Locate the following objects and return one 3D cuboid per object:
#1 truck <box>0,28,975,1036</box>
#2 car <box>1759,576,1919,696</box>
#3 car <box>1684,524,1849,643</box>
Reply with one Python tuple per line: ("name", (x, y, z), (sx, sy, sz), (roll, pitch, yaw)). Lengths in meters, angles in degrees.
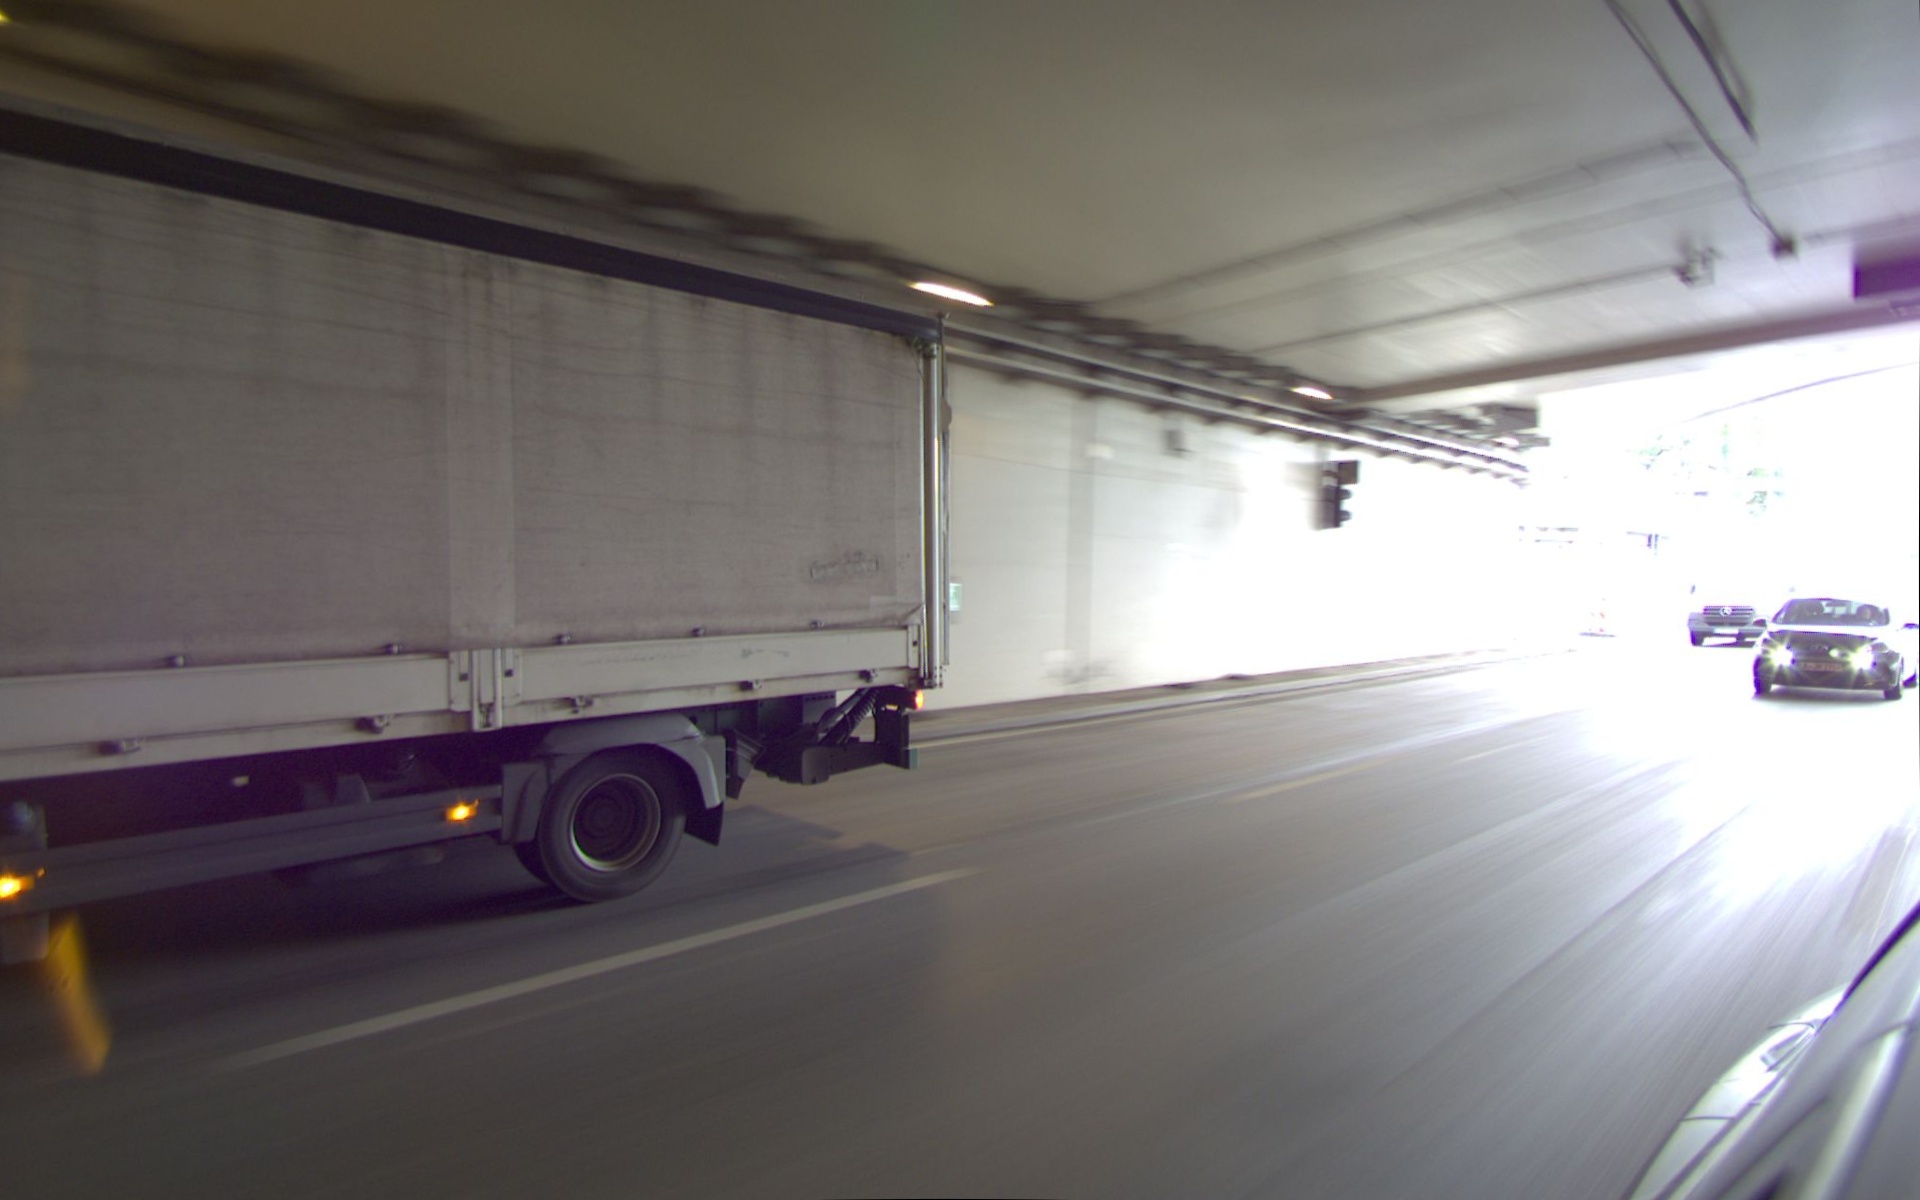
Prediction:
("truck", (-3.350, -0.244, 4.744), (7.125, 3.221, 2.556), (-1, 1, -44))
("car", (13.454, 0.440, 15.210), (3.652, 1.580, 1.637), (-1, 1, -41))
("car", (22.080, -0.433, 27.566), (6.737, 2.883, 2.106), (0, 1, -39))
